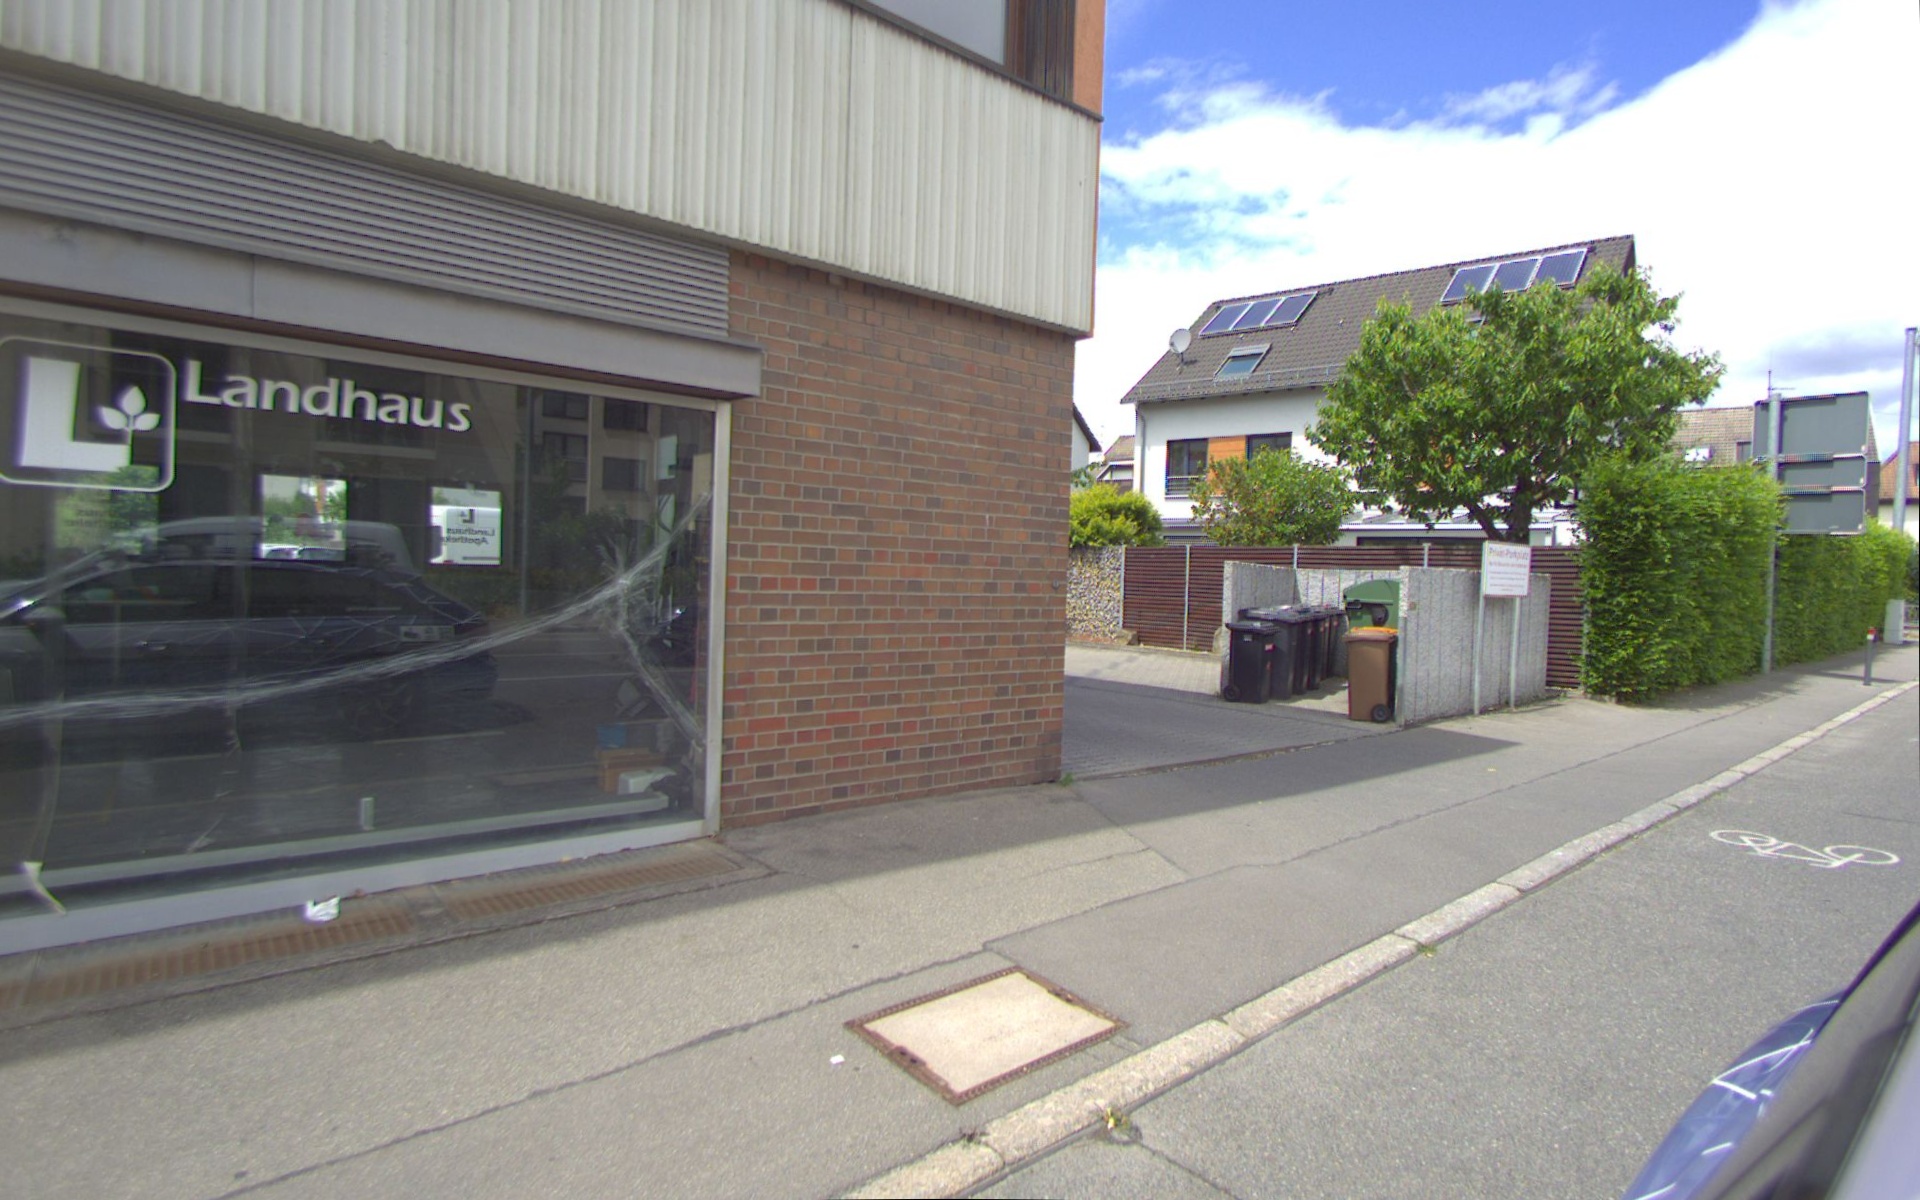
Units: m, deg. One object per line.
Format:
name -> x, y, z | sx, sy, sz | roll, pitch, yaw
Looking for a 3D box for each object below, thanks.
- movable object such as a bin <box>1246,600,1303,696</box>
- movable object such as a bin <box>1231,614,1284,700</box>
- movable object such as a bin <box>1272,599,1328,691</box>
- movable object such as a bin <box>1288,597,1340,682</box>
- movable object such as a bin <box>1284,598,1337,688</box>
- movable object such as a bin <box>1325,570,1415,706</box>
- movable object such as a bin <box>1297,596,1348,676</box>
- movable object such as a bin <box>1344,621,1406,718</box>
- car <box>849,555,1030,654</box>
movable object such as a bin -> 3.754, 0.559, 12.067 | 0.590, 1.088, 0.485 | 1, 1, 25
movable object such as a bin -> 3.430, 0.645, 11.667 | 0.513, 0.933, 0.475 | 1, 1, 25
movable object such as a bin -> 4.184, 0.536, 12.449 | 0.590, 1.088, 0.485 | 1, 1, 25
movable object such as a bin -> 4.688, 0.508, 13.394 | 0.590, 1.088, 0.485 | 1, 1, 25
movable object such as a bin -> 4.472, 0.534, 12.904 | 0.590, 1.088, 0.485 | 1, 1, 25
movable object such as a bin -> 4.611, 0.403, 11.387 | 0.471, 1.473, 0.808 | 0, 1, -45
movable object such as a bin -> 5.139, 0.491, 14.328 | 0.591, 1.088, 0.484 | 1, 1, 30
movable object such as a bin -> 4.245, 0.695, 10.342 | 0.514, 0.933, 0.474 | 1, 1, 31
car -> -0.254, -0.010, 18.801 | 1.977, 1.615, 3.971 | 1, 2, 22
